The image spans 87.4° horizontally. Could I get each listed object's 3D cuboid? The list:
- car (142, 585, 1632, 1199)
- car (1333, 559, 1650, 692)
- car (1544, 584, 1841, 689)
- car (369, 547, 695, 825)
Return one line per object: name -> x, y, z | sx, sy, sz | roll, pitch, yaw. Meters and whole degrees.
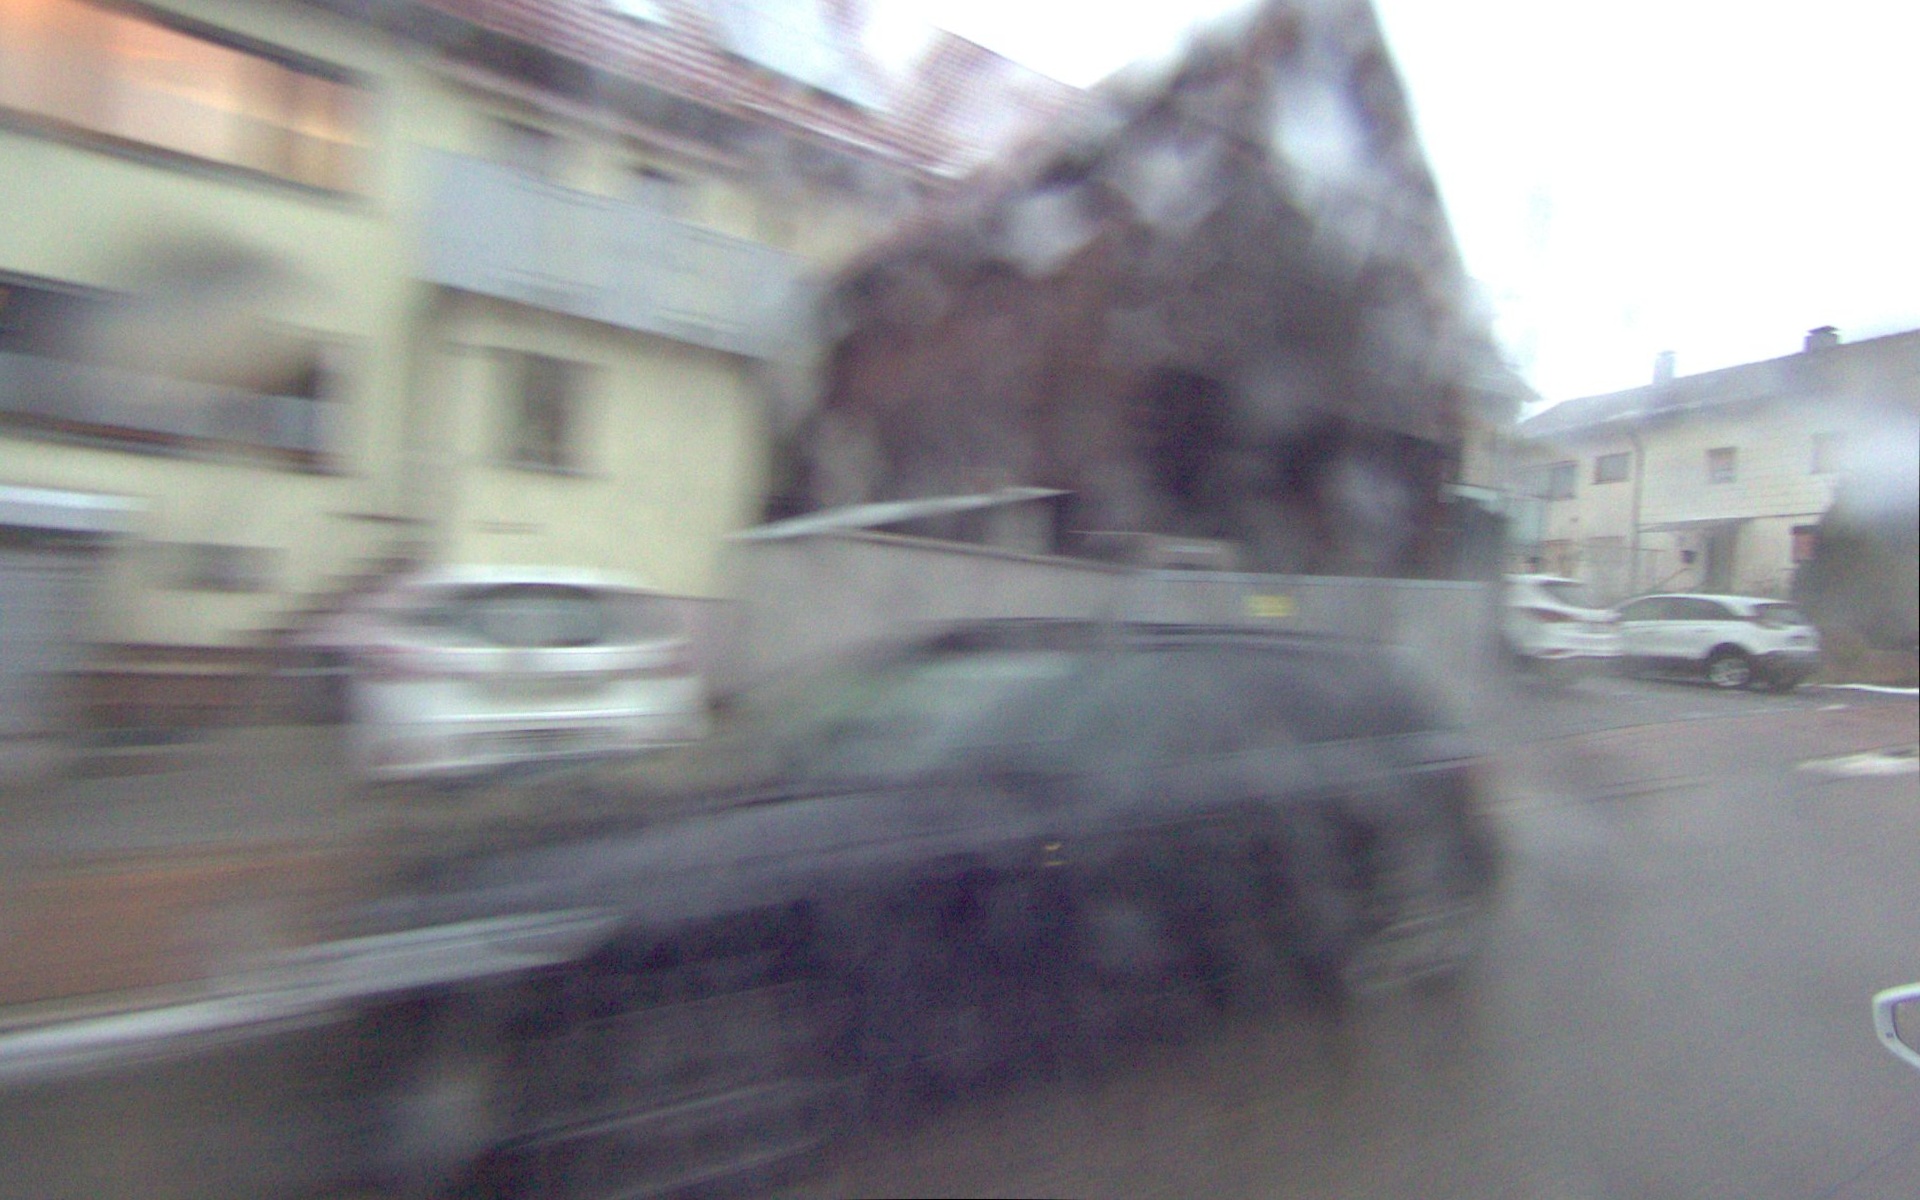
car -> 0.258, 0.753, 3.876 | 5.015, 1.413, 1.869 | 2, -1, -30
car -> 8.131, 0.304, 15.780 | 1.973, 1.770, 3.974 | 1, 2, -25
car -> 13.227, 0.584, 18.420 | 1.863, 1.639, 3.974 | 1, 1, -25
car -> -3.200, 0.445, 7.526 | 1.750, 1.549, 3.453 | 1, 1, -25
